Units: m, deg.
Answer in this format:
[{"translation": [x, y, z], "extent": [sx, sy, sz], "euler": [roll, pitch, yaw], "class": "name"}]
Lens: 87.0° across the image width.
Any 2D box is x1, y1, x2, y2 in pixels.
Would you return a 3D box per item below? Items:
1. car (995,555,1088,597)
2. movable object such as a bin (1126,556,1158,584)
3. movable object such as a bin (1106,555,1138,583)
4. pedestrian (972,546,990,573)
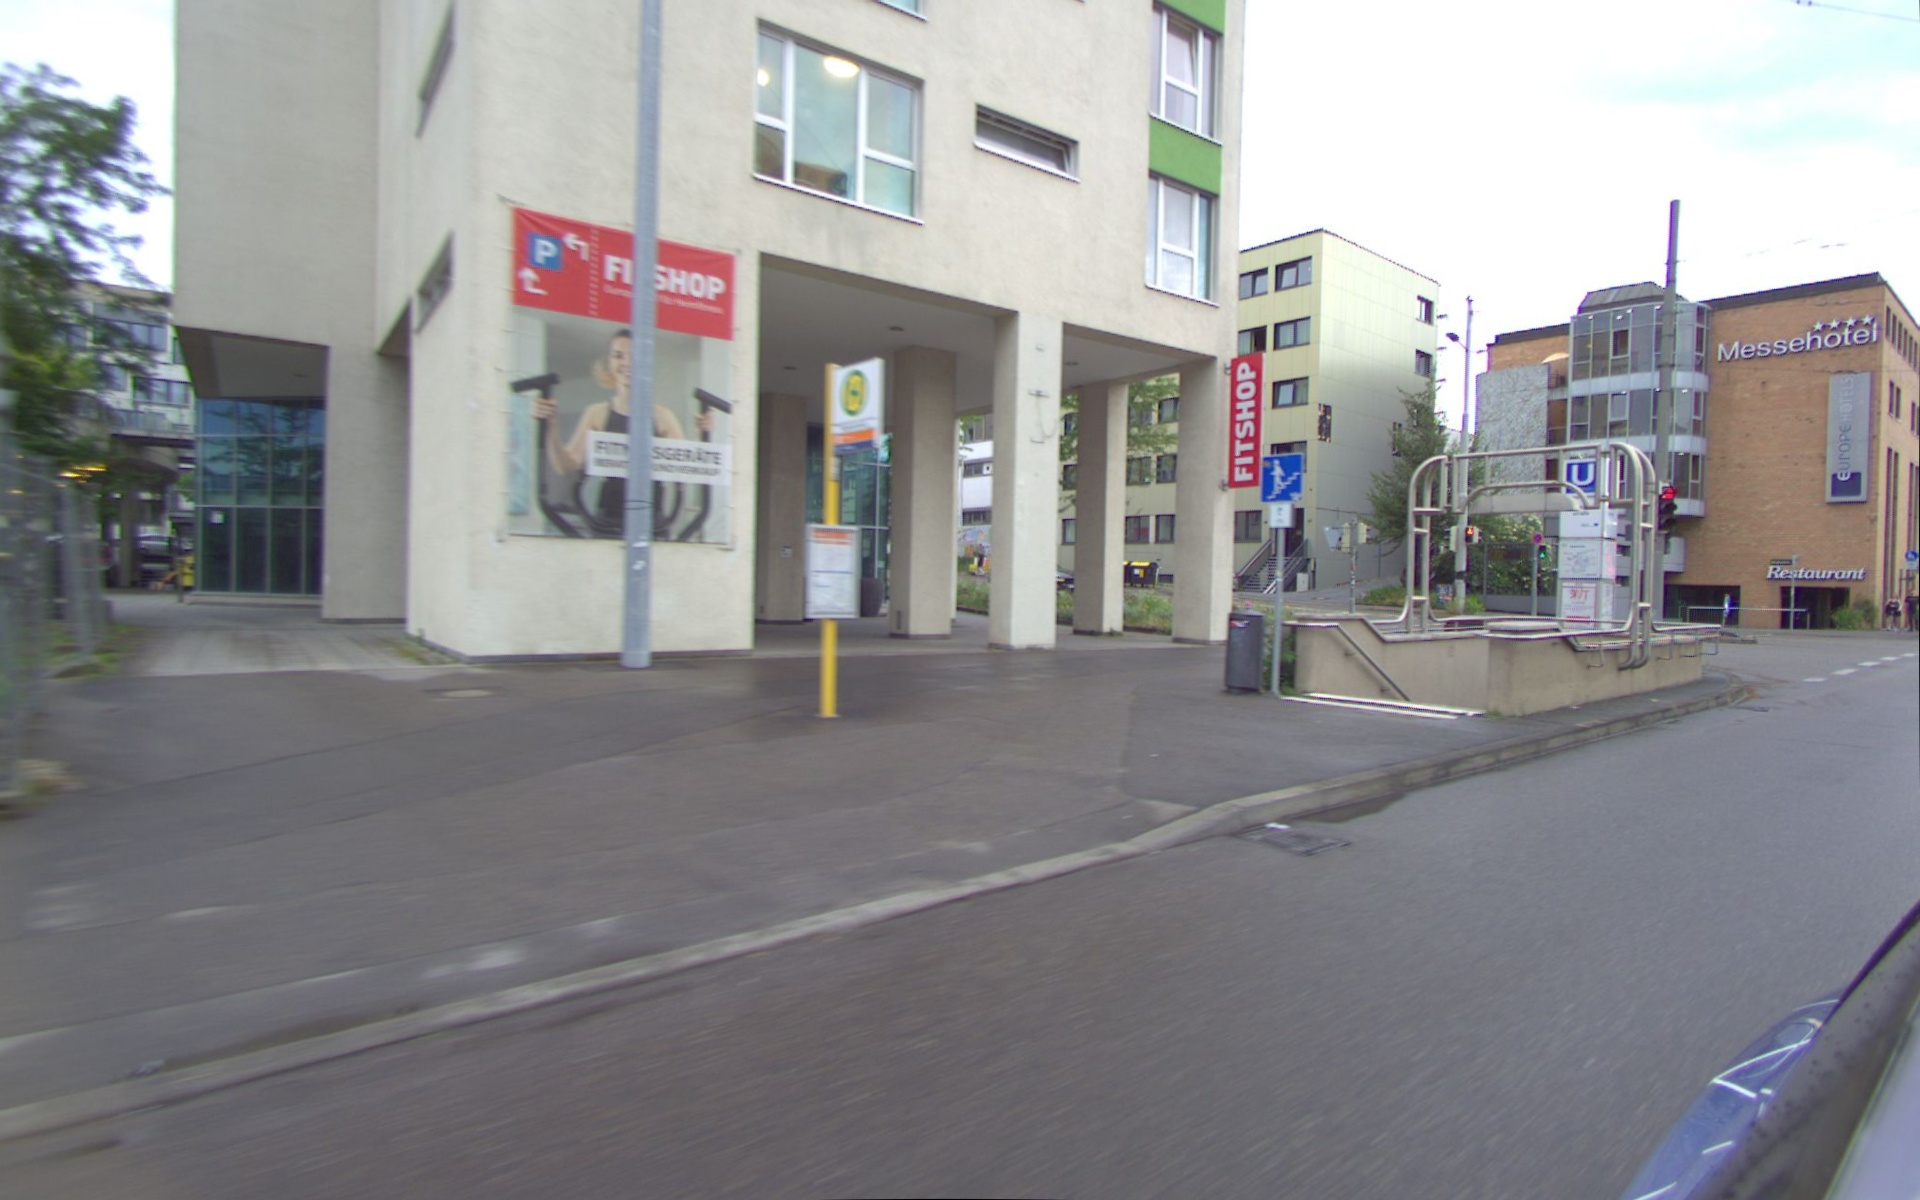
[{"translation": [3.589, -1.115, 44.999], "extent": [1.963, 1.592, 4.001], "euler": [-2, 5, -37], "class": "car"}, {"translation": [10.148, -1.689, 56.477], "extent": [1.038, 1.462, 1.358], "euler": [-3, 6, -37], "class": "movable object such as a bin"}, {"translation": [9.238, -1.780, 57.758], "extent": [1.038, 1.462, 1.430], "euler": [-3, 6, -37], "class": "movable object such as a bin"}, {"translation": [1.390, -2.681, 66.464], "extent": [0.744, 1.752, 0.942], "euler": [-2, 5, -38], "class": "pedestrian"}]
